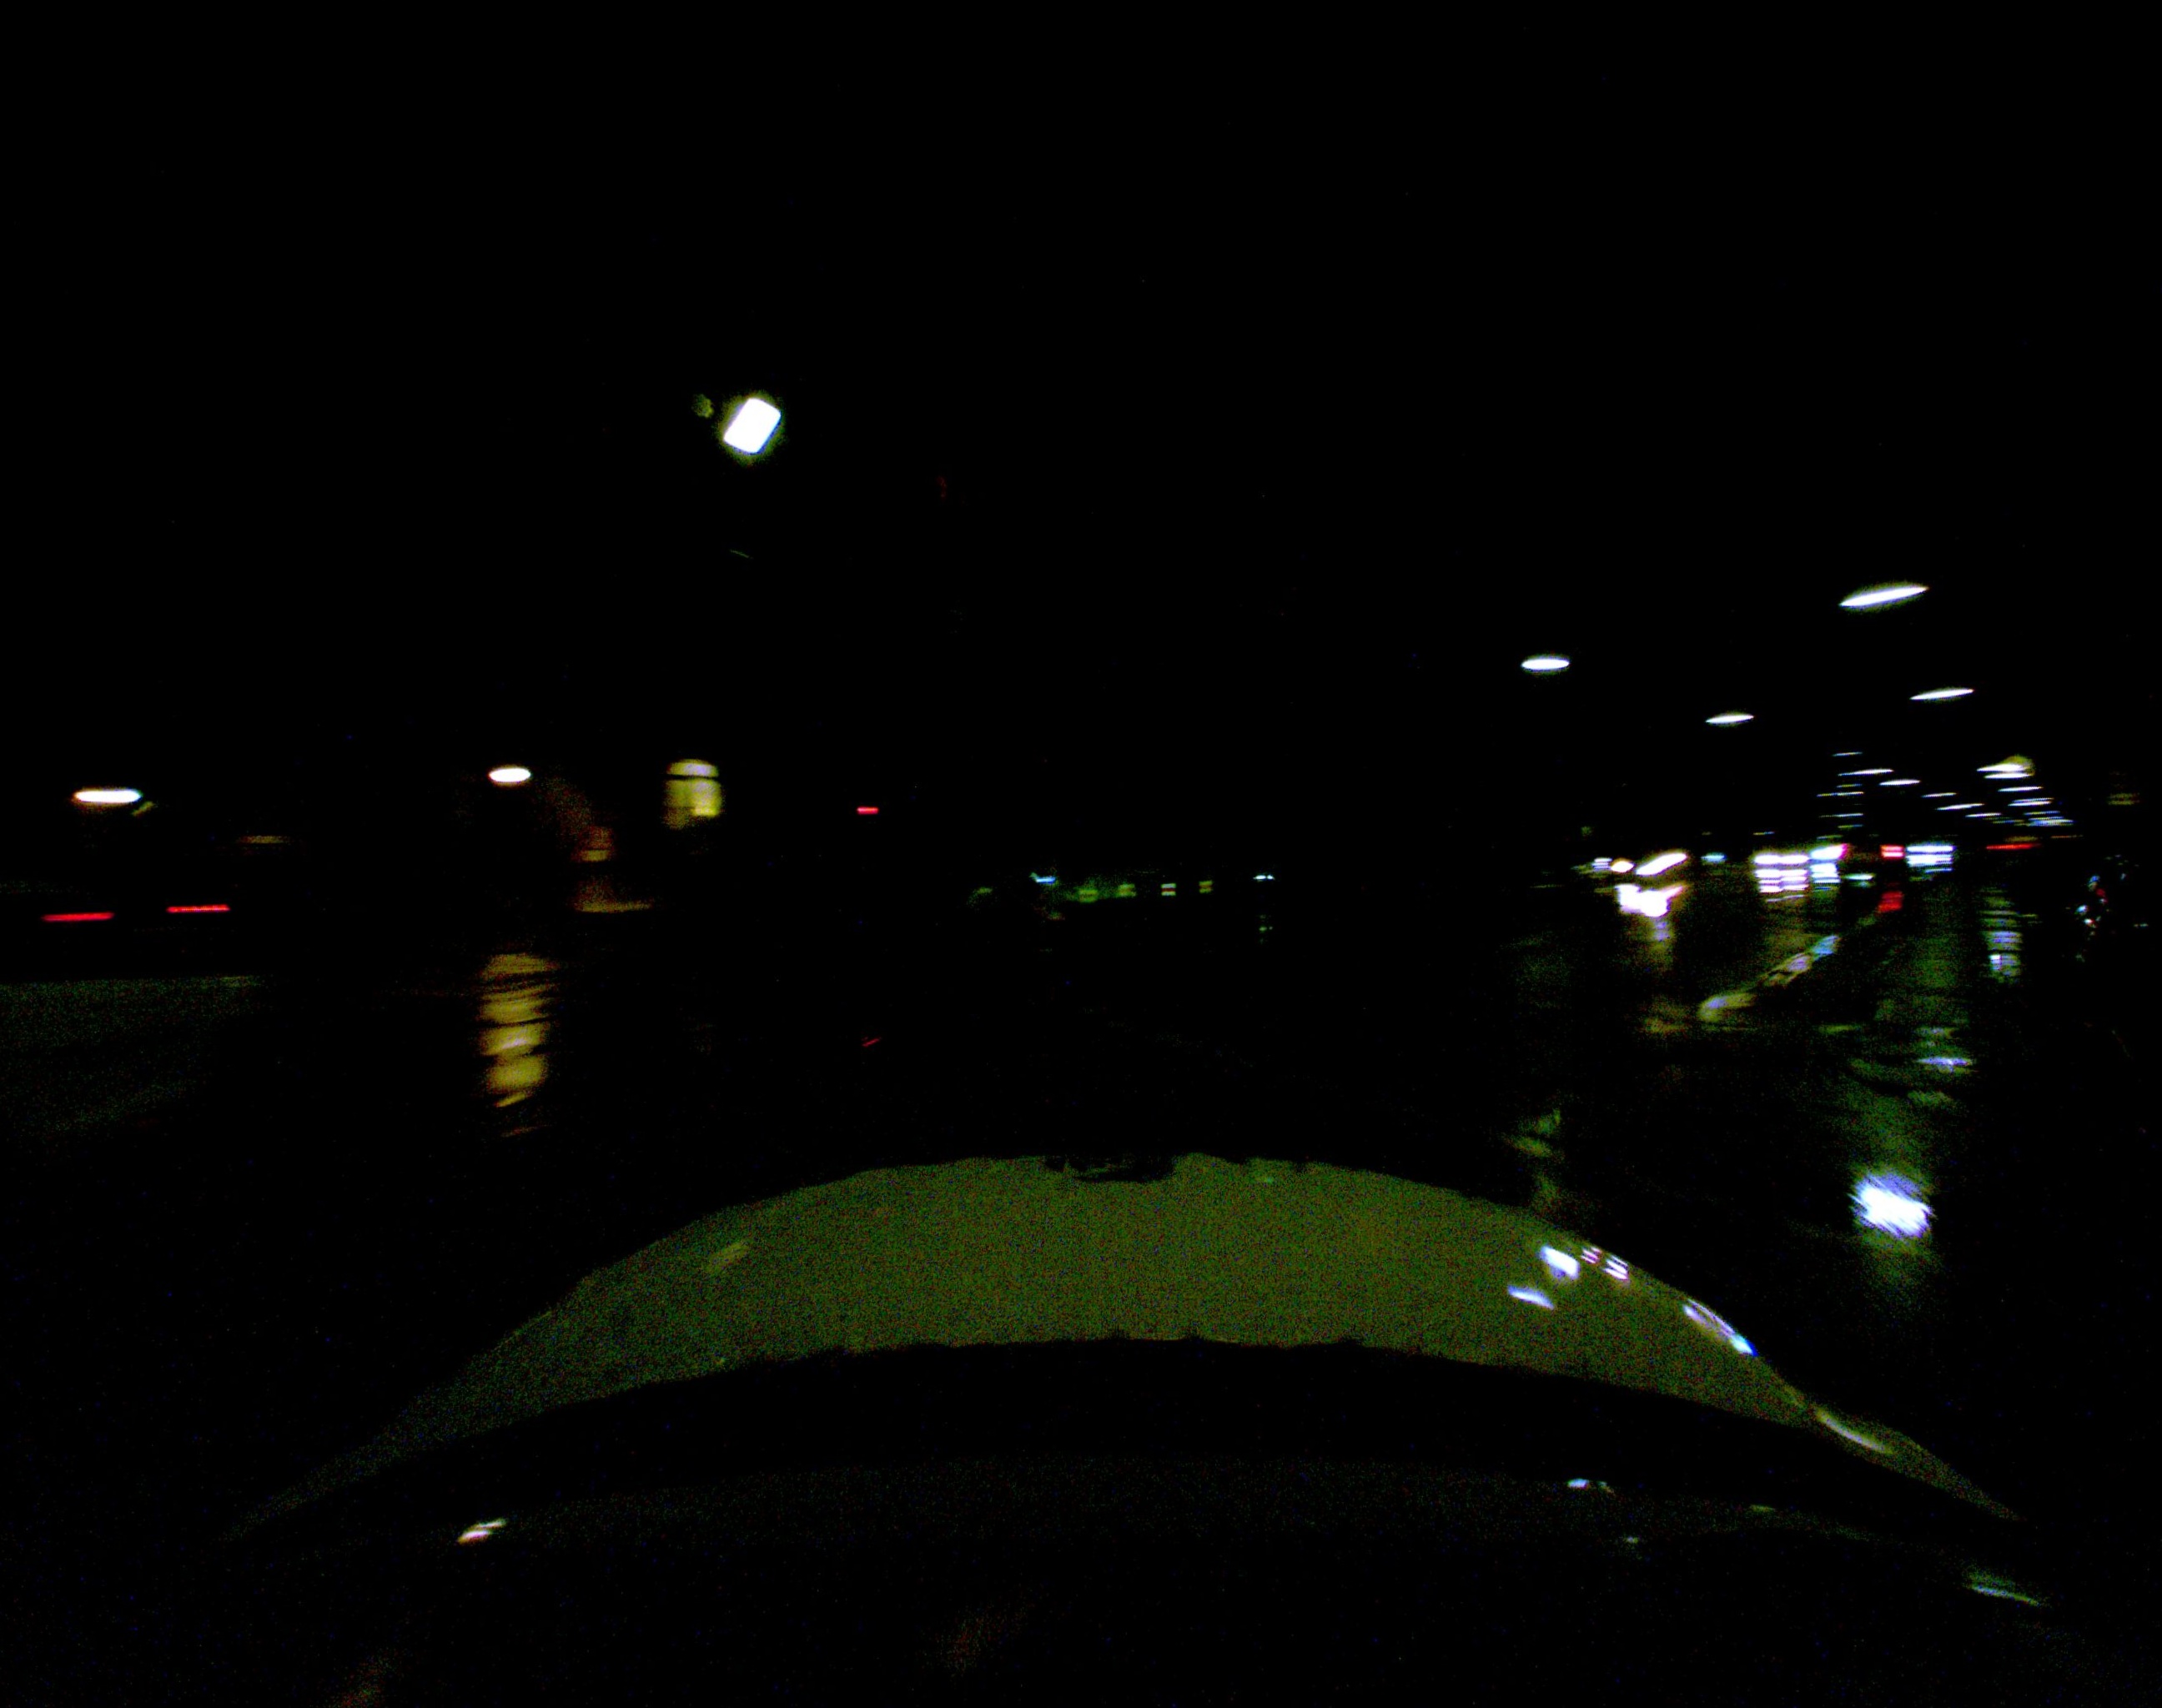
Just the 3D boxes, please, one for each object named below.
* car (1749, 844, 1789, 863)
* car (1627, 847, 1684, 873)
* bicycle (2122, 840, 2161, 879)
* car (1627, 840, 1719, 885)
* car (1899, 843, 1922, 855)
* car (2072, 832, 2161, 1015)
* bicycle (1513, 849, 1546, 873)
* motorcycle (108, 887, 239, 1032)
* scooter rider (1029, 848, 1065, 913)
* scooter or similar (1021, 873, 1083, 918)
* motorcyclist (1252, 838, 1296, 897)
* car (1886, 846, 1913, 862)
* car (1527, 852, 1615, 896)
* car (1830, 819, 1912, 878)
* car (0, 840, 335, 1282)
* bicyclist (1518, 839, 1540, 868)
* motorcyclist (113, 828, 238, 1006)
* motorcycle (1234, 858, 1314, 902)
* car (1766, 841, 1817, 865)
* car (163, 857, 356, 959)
[{"bbox_3d":[54.417,-0.037,64.366,4.020,1.386,1.655,0,1,-38],"label":"car"},{"bbox_3d":[33.024,0.313,46.783,4.163,1.406,1.751,-1,2,-41],"label":"car"},{"bbox_3d":[33.185,0.139,24.748,0.495,1.164,1.797,1,-4,-41],"label":"bicycle"},{"bbox_3d":[26.053,0.358,35.796,4.556,1.869,1.880,0,-2,-36],"label":"car"},{"bbox_3d":[120.040,-0.726,117.815,4.020,1.785,1.983,0,1,-39],"label":"car"},{"bbox_3d":[10.708,0.522,7.626,3.599,1.525,1.633,-1,-4,-40],"label":"car"},{"bbox_3d":[22.409,0.333,40.685,1.906,1.141,0.649,0,1,-36],"label":"bicycle"},{"bbox_3d":[-9.281,0.986,8.342,2.221,1.213,0.797,0,-1,42],"label":"motorcycle"},{"bbox_3d":[-0.855,0.648,20.293,0.654,1.573,0.636,1,1,-28],"label":"scooter rider"},{"bbox_3d":[-0.723,1.009,20.137,1.372,1.052,0.636,1,1,-29],"label":"scooter or similar"},{"bbox_3d":[5.806,0.400,24.498,1.029,1.731,0.704,-1,-3,-22],"label":"motorcyclist"},{"bbox_3d":[77.609,-0.009,77.188,4.229,1.479,1.636,-1,-2,-43],"label":"car"},{"bbox_3d":[23.644,0.894,39.237,5.336,1.825,1.977,-2,3,-40],"label":"car"},{"bbox_3d":[35.651,-0.259,36.692,5.412,2.441,2.198,-1,0,-41],"label":"car"},{"bbox_3d":[-5.145,0.722,3.509,1.929,1.516,3.566,0,0,-27],"label":"car"},{"bbox_3d":[22.363,-0.030,40.644,0.872,1.465,0.649,1,1,-36],"label":"bicyclist"},{"bbox_3d":[-9.267,0.606,8.351,0.809,1.695,0.797,0,-1,41],"label":"motorcyclist"},{"bbox_3d":[5.814,0.776,24.479,2.327,1.230,0.704,-1,-3,-22],"label":"motorcycle"},{"bbox_3d":[44.811,-0.072,51.331,3.921,1.464,1.777,-1,0,-39],"label":"car"},{"bbox_3d":[-15.867,0.939,15.973,1.760,1.739,3.761,1,0,-31],"label":"car"}]
